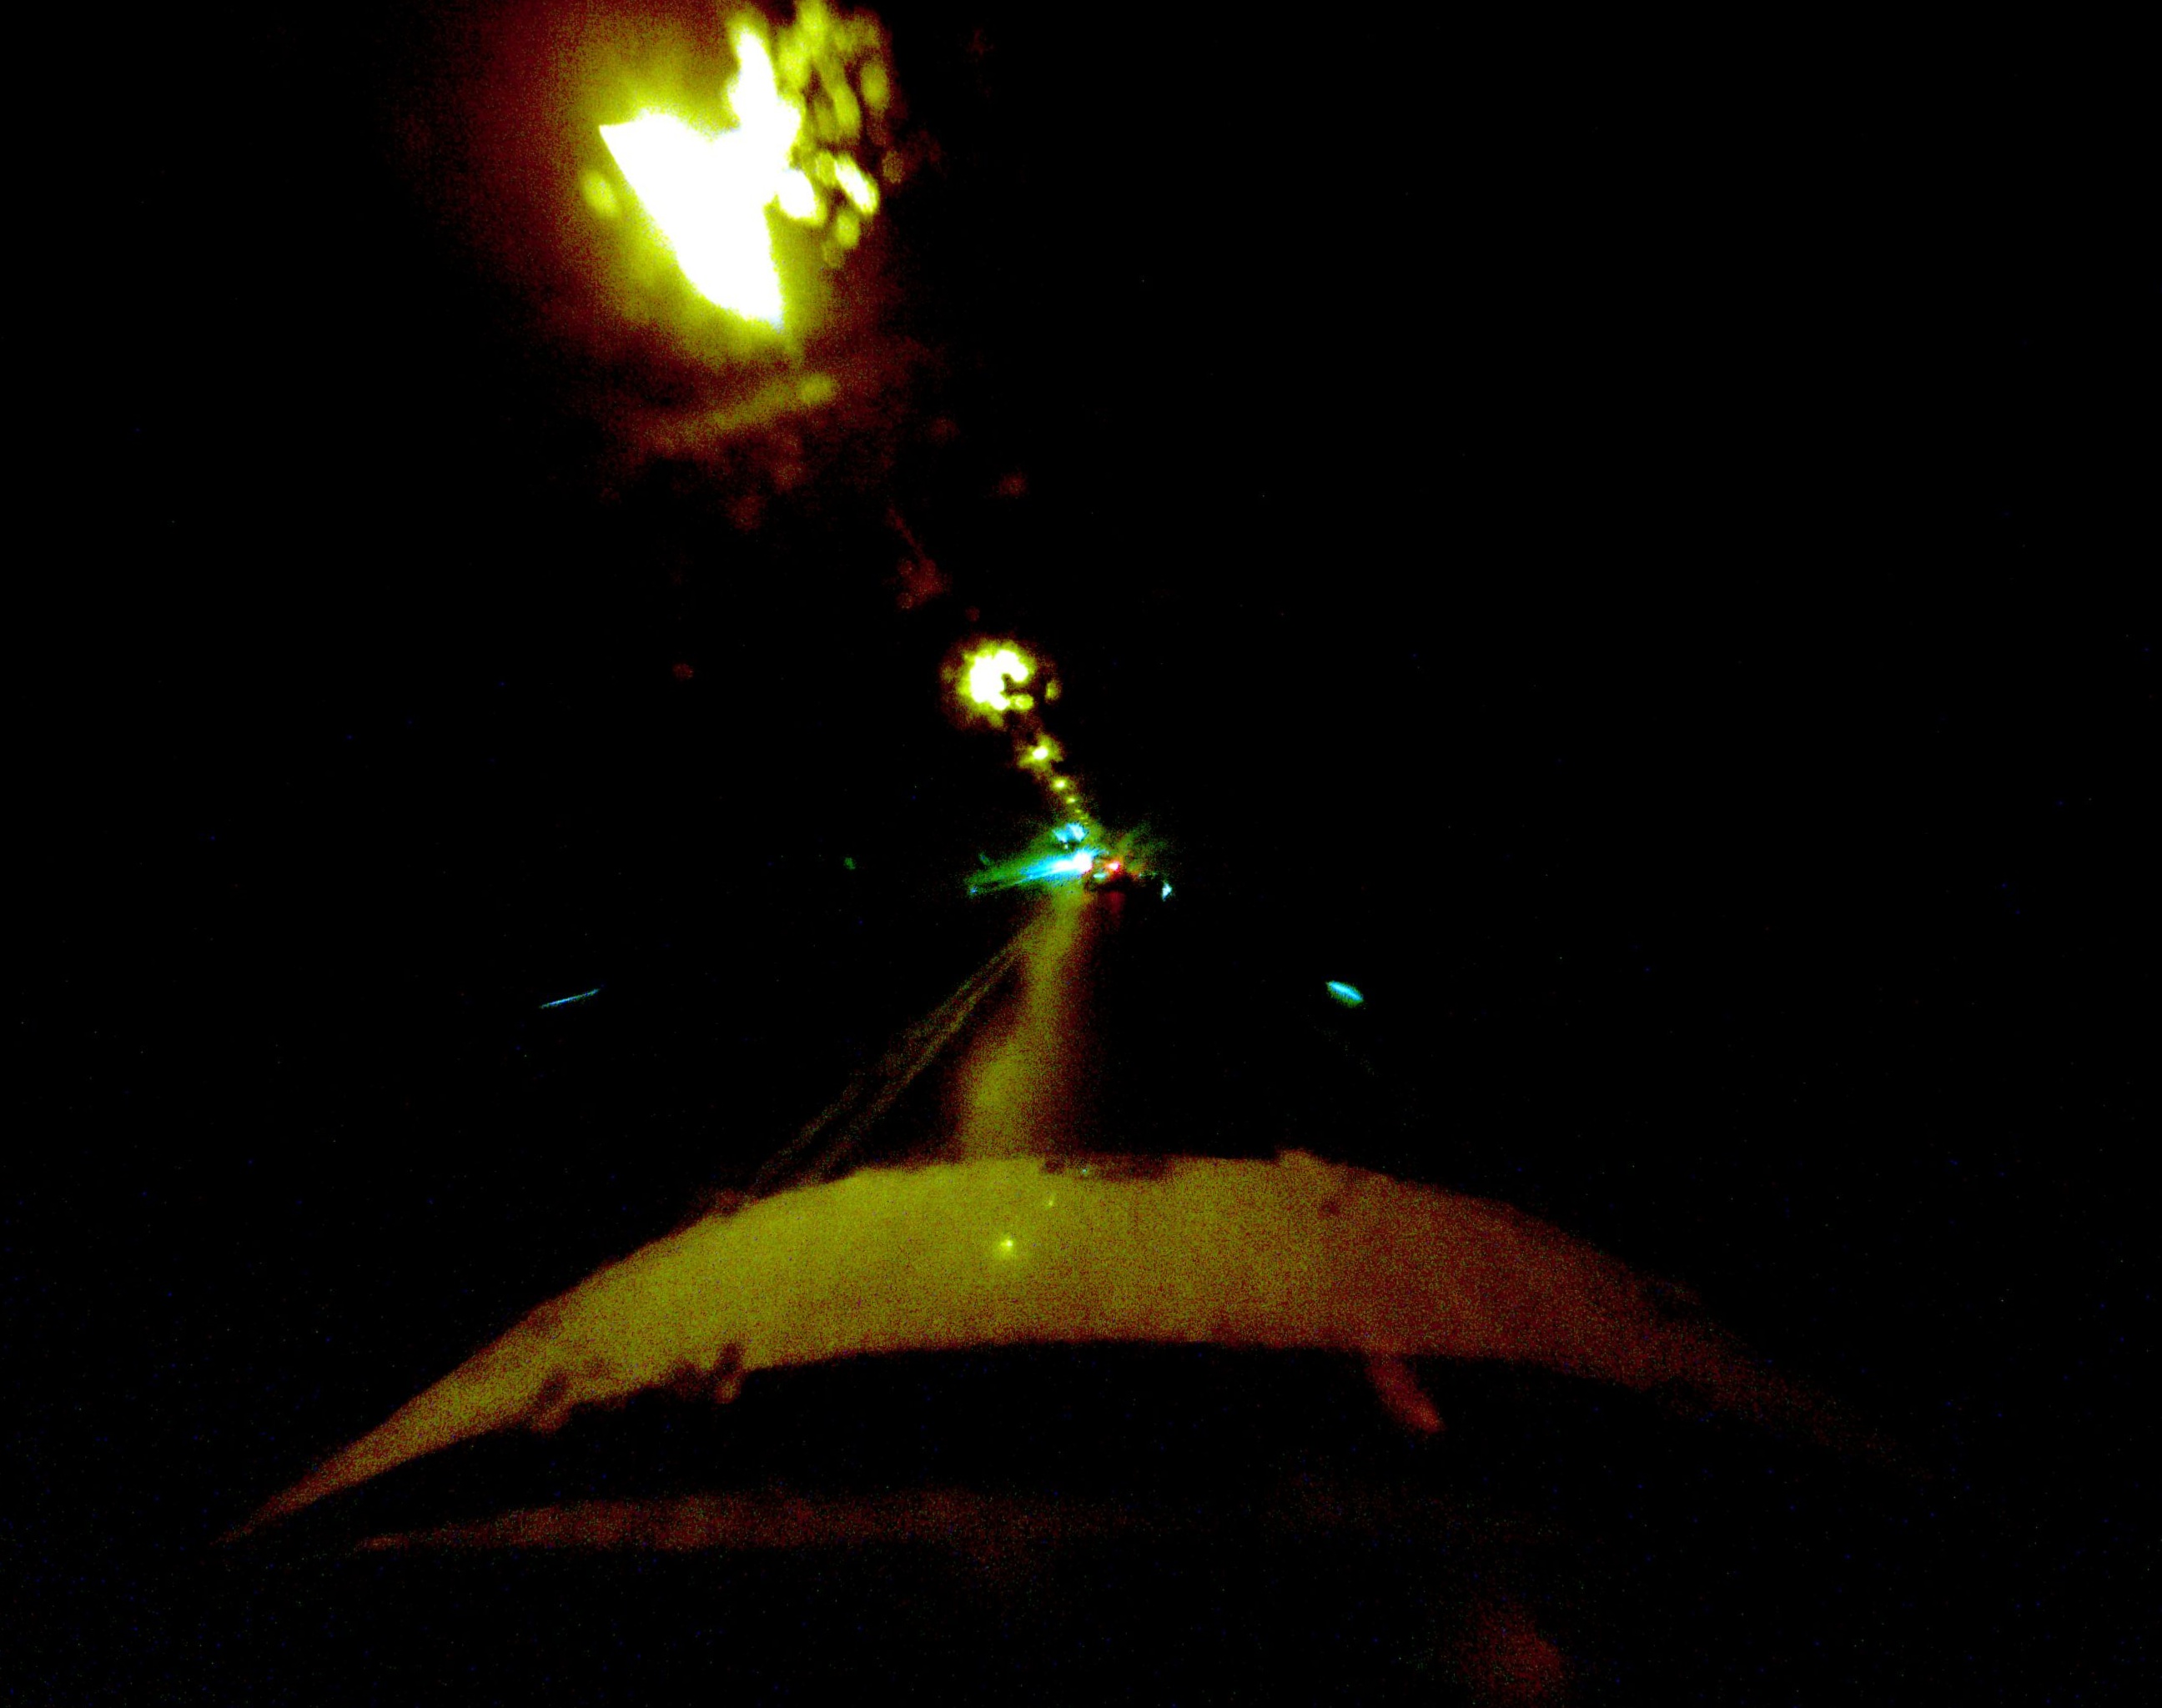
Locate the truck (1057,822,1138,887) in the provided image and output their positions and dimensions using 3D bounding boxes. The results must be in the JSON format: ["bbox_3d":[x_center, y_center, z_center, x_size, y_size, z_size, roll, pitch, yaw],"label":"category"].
[{"bbox_3d":[0.907,-0.002,41.654,3.522,2.693,8.960,-4,0,2],"label":"truck"}]
